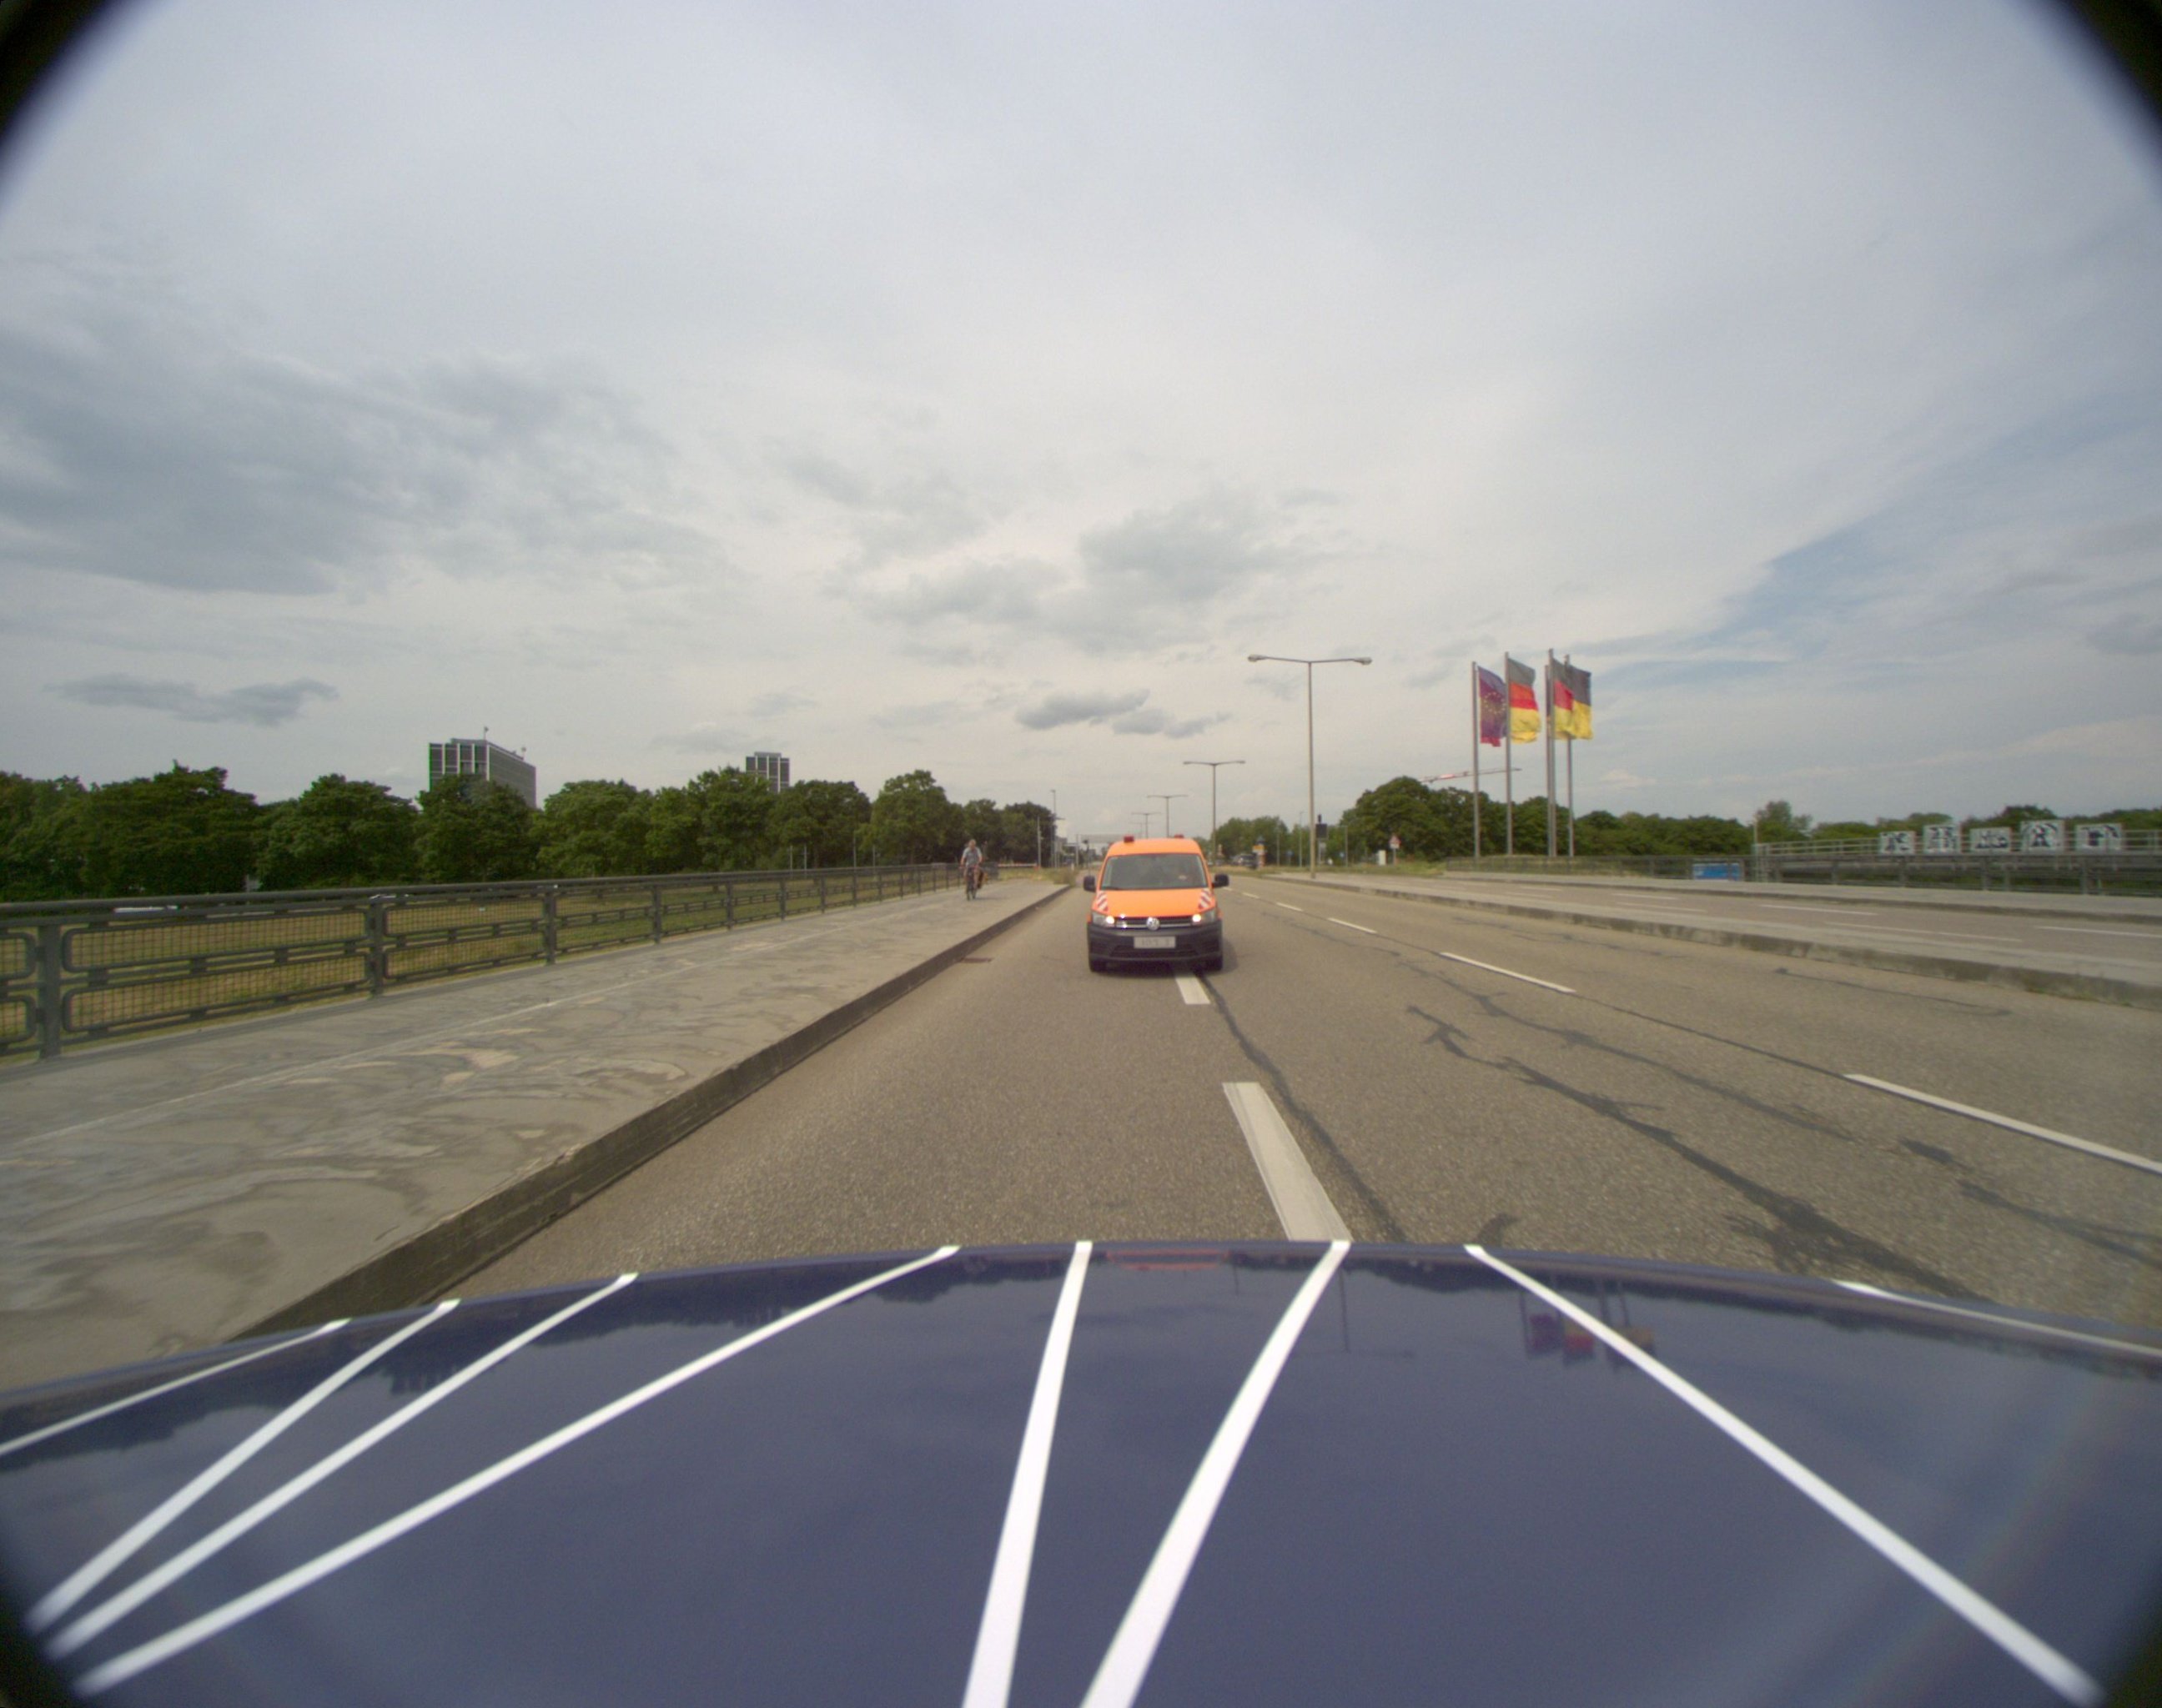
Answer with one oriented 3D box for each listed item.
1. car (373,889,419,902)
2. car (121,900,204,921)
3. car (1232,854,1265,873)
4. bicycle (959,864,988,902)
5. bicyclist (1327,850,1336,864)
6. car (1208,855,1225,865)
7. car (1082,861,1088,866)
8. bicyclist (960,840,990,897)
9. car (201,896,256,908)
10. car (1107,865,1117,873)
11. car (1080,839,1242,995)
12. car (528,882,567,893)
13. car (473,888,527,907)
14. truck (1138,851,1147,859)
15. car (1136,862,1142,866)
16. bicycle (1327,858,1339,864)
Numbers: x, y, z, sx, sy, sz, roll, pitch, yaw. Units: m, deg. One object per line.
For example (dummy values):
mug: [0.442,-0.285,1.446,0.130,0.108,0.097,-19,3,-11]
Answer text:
car: [-80.861,4.881,89.758,3.687,1.265,1.676,-2,0,-22]
car: [-92.113,5.638,76.275,4.910,1.792,1.996,-1,0,-29]
car: [15.199,0.891,69.156,1.998,1.630,4.663,2,0,2]
bicycle: [-3.463,0.920,24.574,0.815,1.134,1.763,-1,0,-4]
bicyclist: [29.671,0.334,89.934,0.820,1.583,0.737,-1,0,3]
car: [19.540,0.867,109.642,1.695,1.485,4.000,1,0,1]
car: [1.167,2.876,226.609,1.695,1.229,3.470,-2,0,1]
bicyclist: [-3.405,0.447,24.426,0.873,1.791,0.956,1,1,-4]
car: [-94.817,5.348,84.543,3.687,1.124,1.676,-2,0,-22]
car: [5.070,2.470,124.780,1.558,1.229,3.470,-2,0,1]
car: [1.018,0.782,11.372,1.892,1.824,4.431,-2,0,1]
car: [-66.478,4.151,94.691,3.687,1.124,1.676,-2,0,-22]
car: [-65.979,4.958,86.310,4.471,2.002,1.999,-1,0,-8]
truck: [15.631,0.284,192.841,1.998,2.002,4.001,-1,0,1]
car: [20.152,3.389,262.802,1.695,1.229,3.470,-2,0,1]
bicycle: [29.734,0.838,89.746,0.820,0.729,2.222,-1,0,3]
